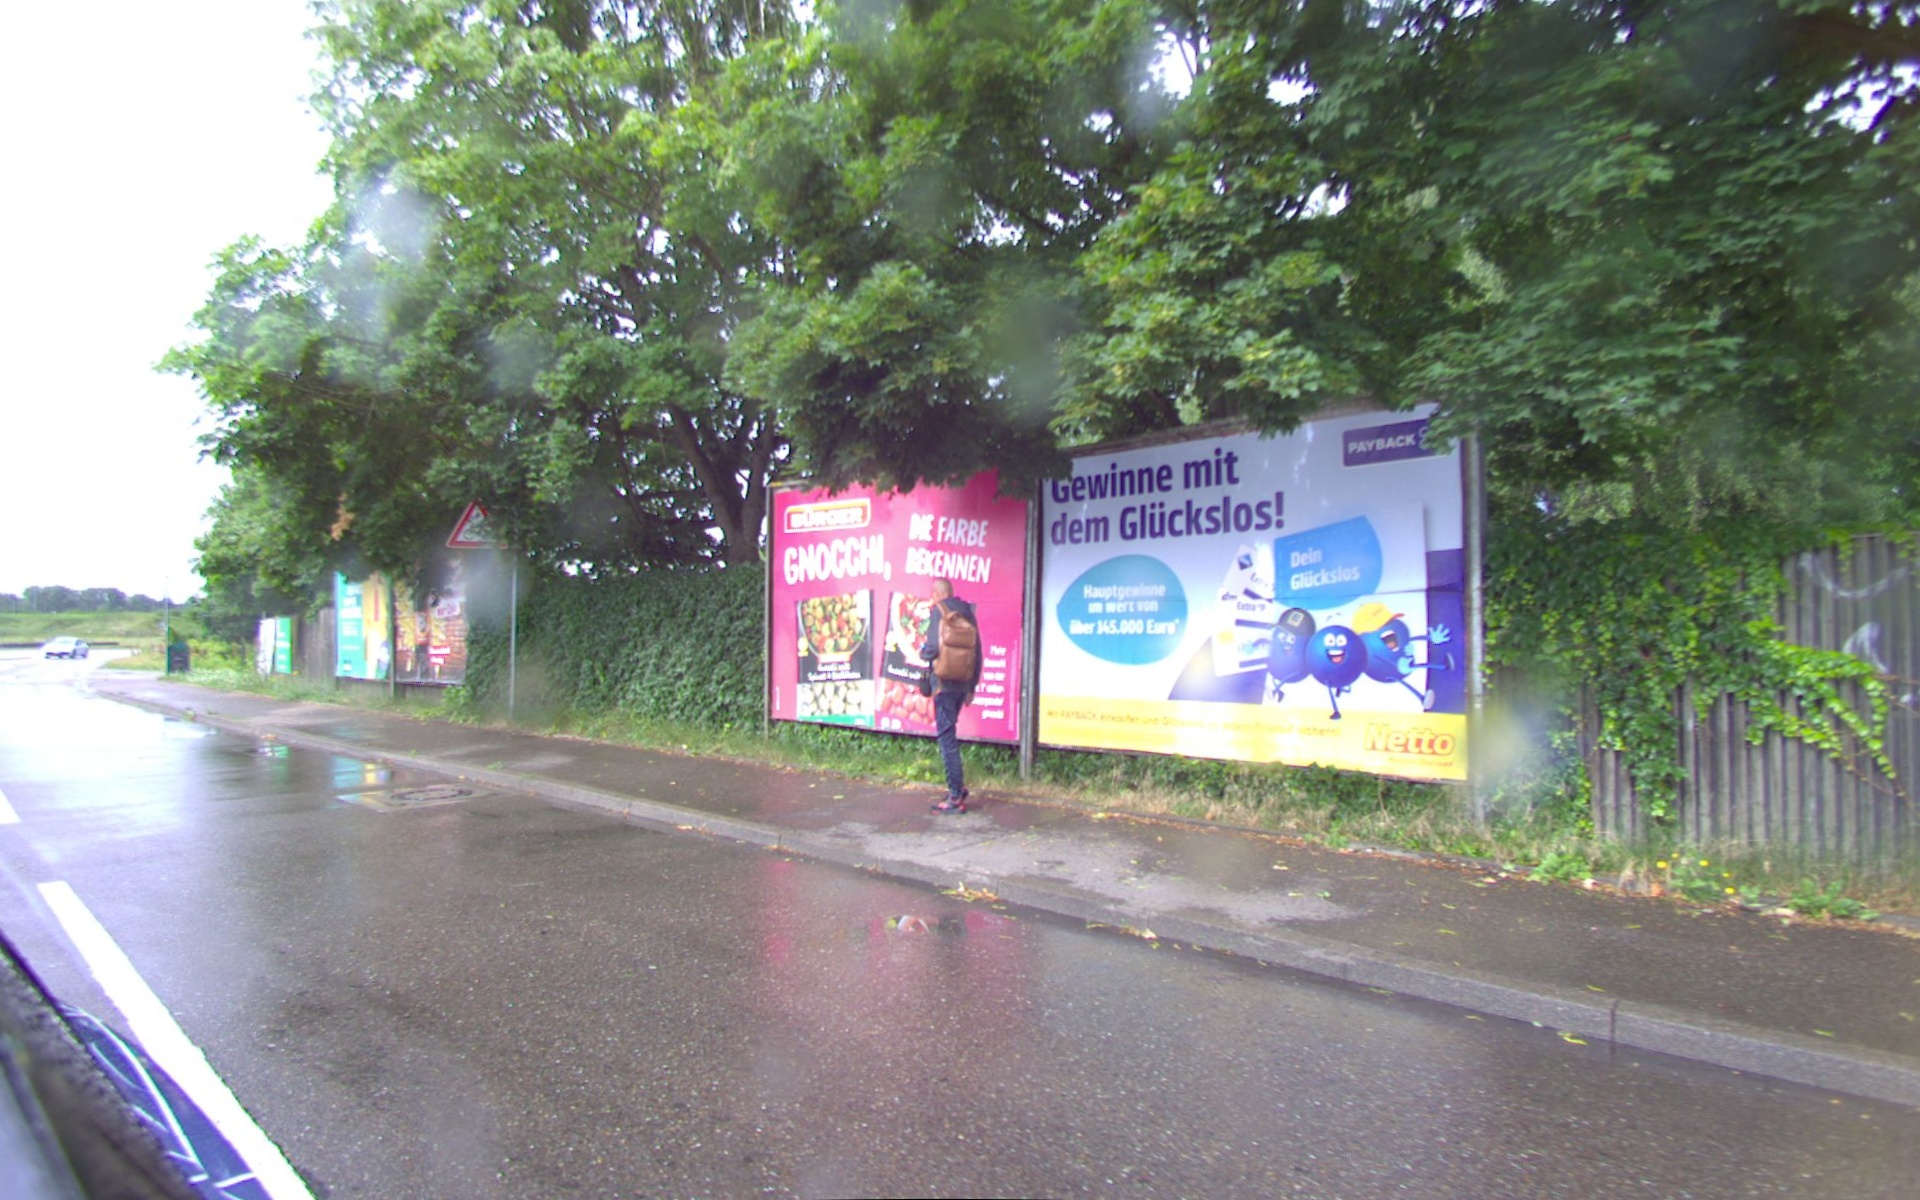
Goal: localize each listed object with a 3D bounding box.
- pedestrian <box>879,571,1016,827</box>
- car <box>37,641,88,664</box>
[{"bbox_3d":[-0.085,0.707,7.614,0.644,1.783,0.830,-2,-3,41],"label":"pedestrian"},{"bbox_3d":[-69.217,4.040,78.111,1.767,1.645,3.830,0,-2,-23],"label":"car"}]
